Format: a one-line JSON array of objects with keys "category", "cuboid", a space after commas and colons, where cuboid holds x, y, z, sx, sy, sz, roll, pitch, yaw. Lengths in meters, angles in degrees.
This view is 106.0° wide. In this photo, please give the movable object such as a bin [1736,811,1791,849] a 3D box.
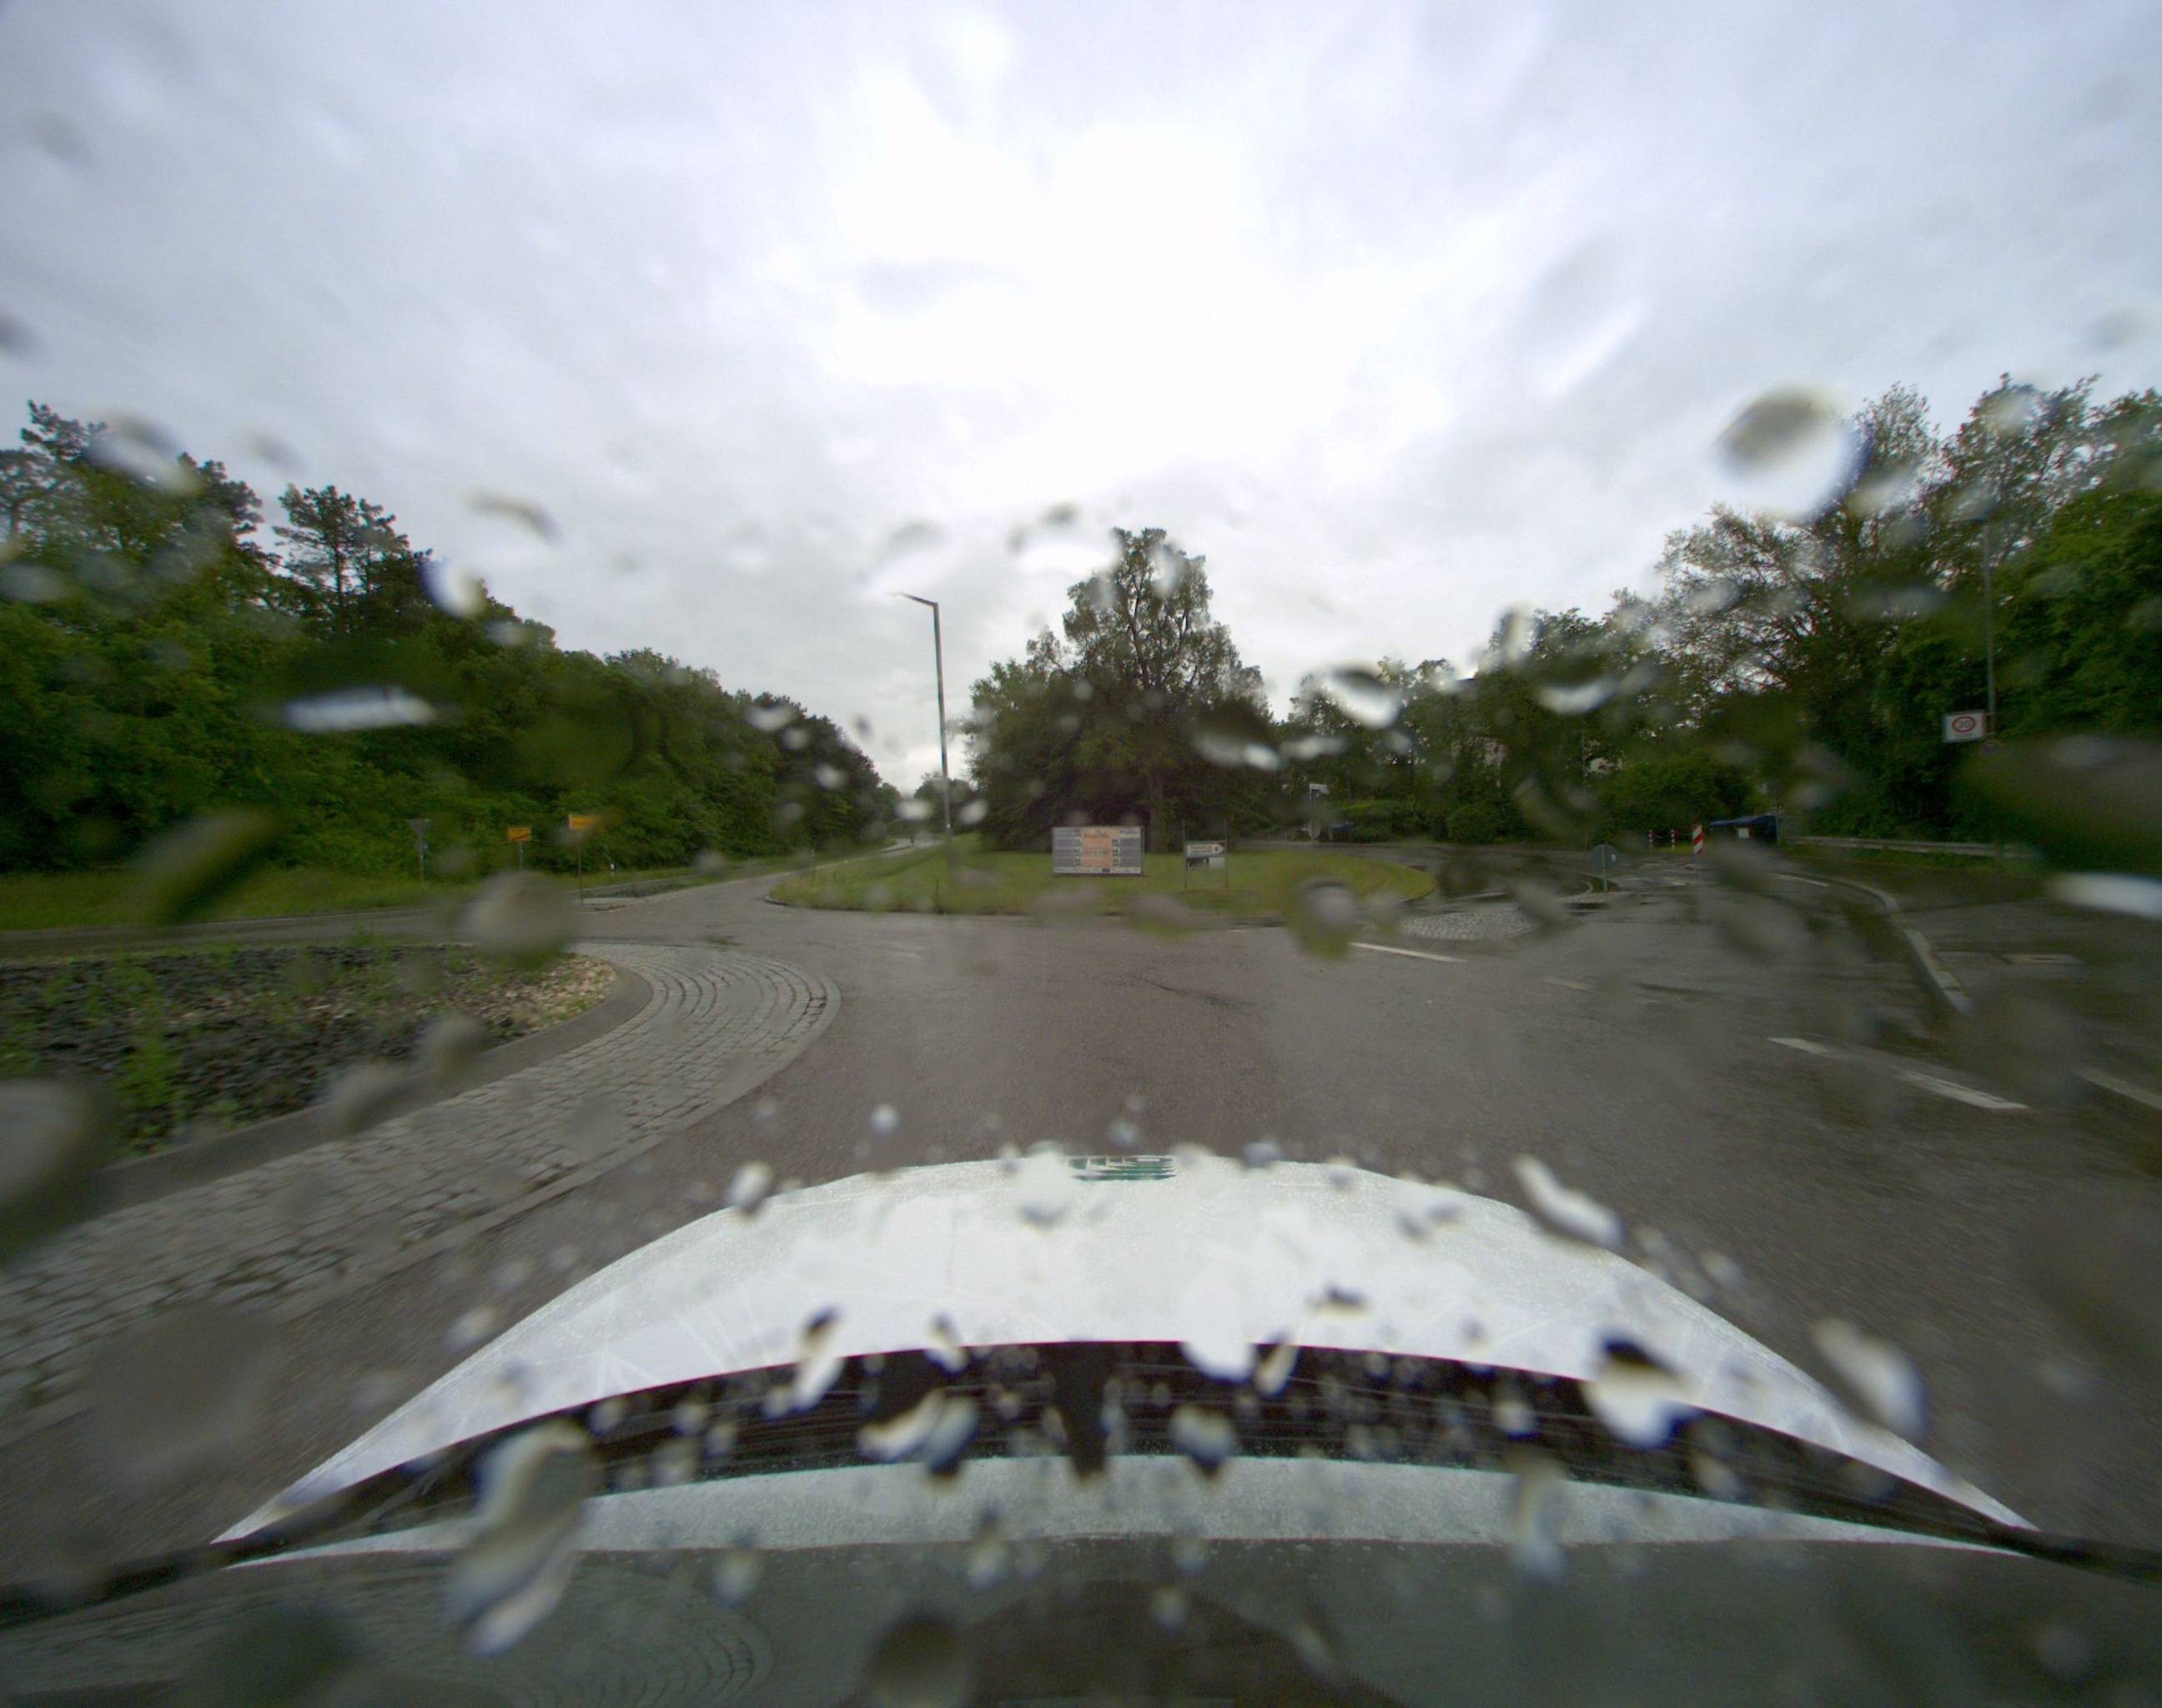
[{"category": "movable object such as a bin", "cuboid": [26.099, -0.907, 31.170, 1.185, 1.342, 1.080, -5, 0, 15]}]

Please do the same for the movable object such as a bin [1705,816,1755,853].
[{"category": "movable object such as a bin", "cuboid": [26.057, -0.782, 32.714, 1.185, 1.437, 1.079, -2, 0, 15]}]

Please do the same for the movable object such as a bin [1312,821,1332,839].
[{"category": "movable object such as a bin", "cuboid": [20.331, -2.046, 68.750, 1.190, 1.437, 1.428, -2, 1, 0]}]
